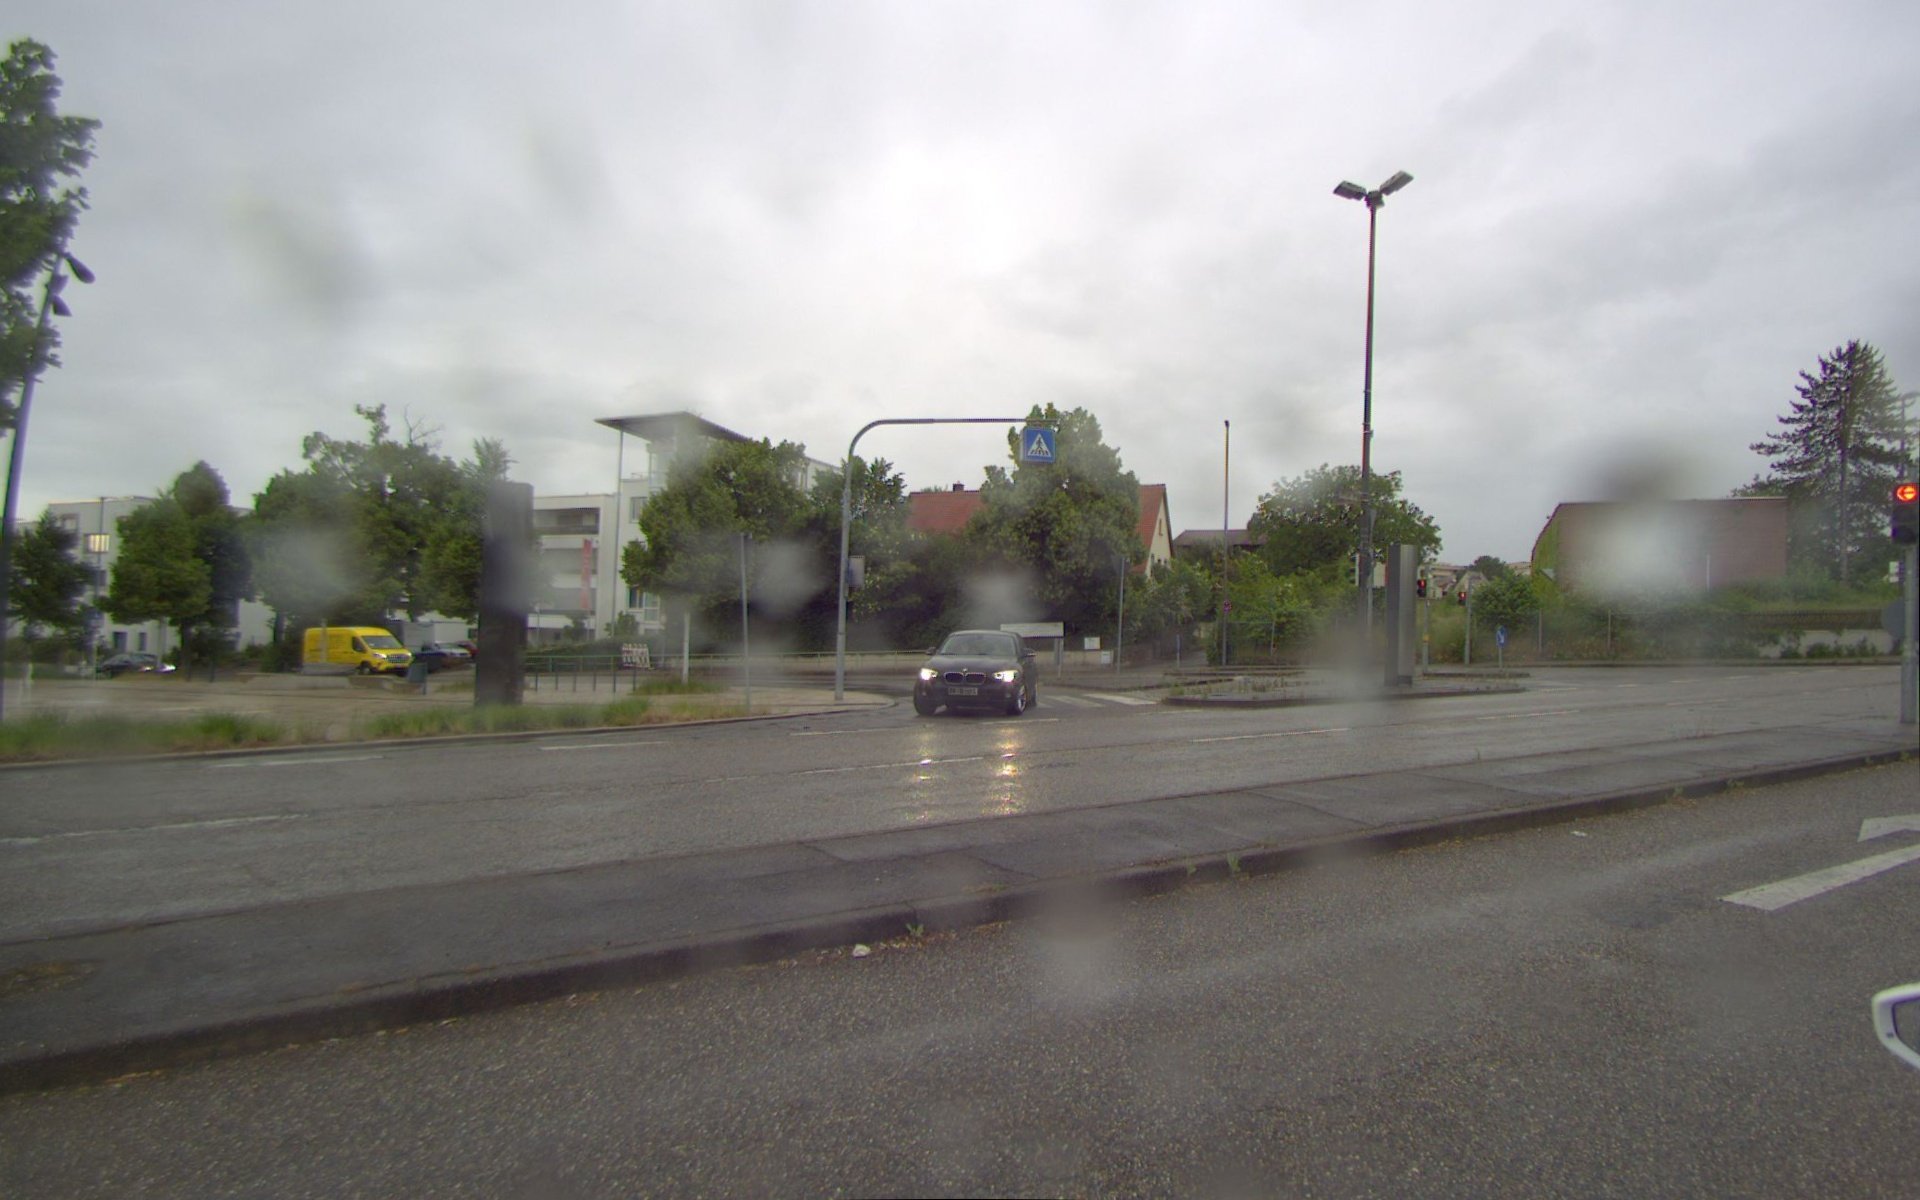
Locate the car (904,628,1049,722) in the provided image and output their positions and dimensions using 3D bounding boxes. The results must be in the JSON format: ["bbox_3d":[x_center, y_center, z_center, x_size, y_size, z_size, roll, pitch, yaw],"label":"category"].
[{"bbox_3d":[0.433,1.218,17.617,1.754,1.408,4.284,0,-2,12],"label":"car"}]

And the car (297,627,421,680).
[{"bbox_3d":[-29.318,2.639,48.989,5.802,2.441,2.000,-2,-3,21],"label":"car"}]

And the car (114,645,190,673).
[{"bbox_3d":[-45.833,3.336,56.975,3.929,1.559,1.997,-2,-3,29],"label":"car"}]
